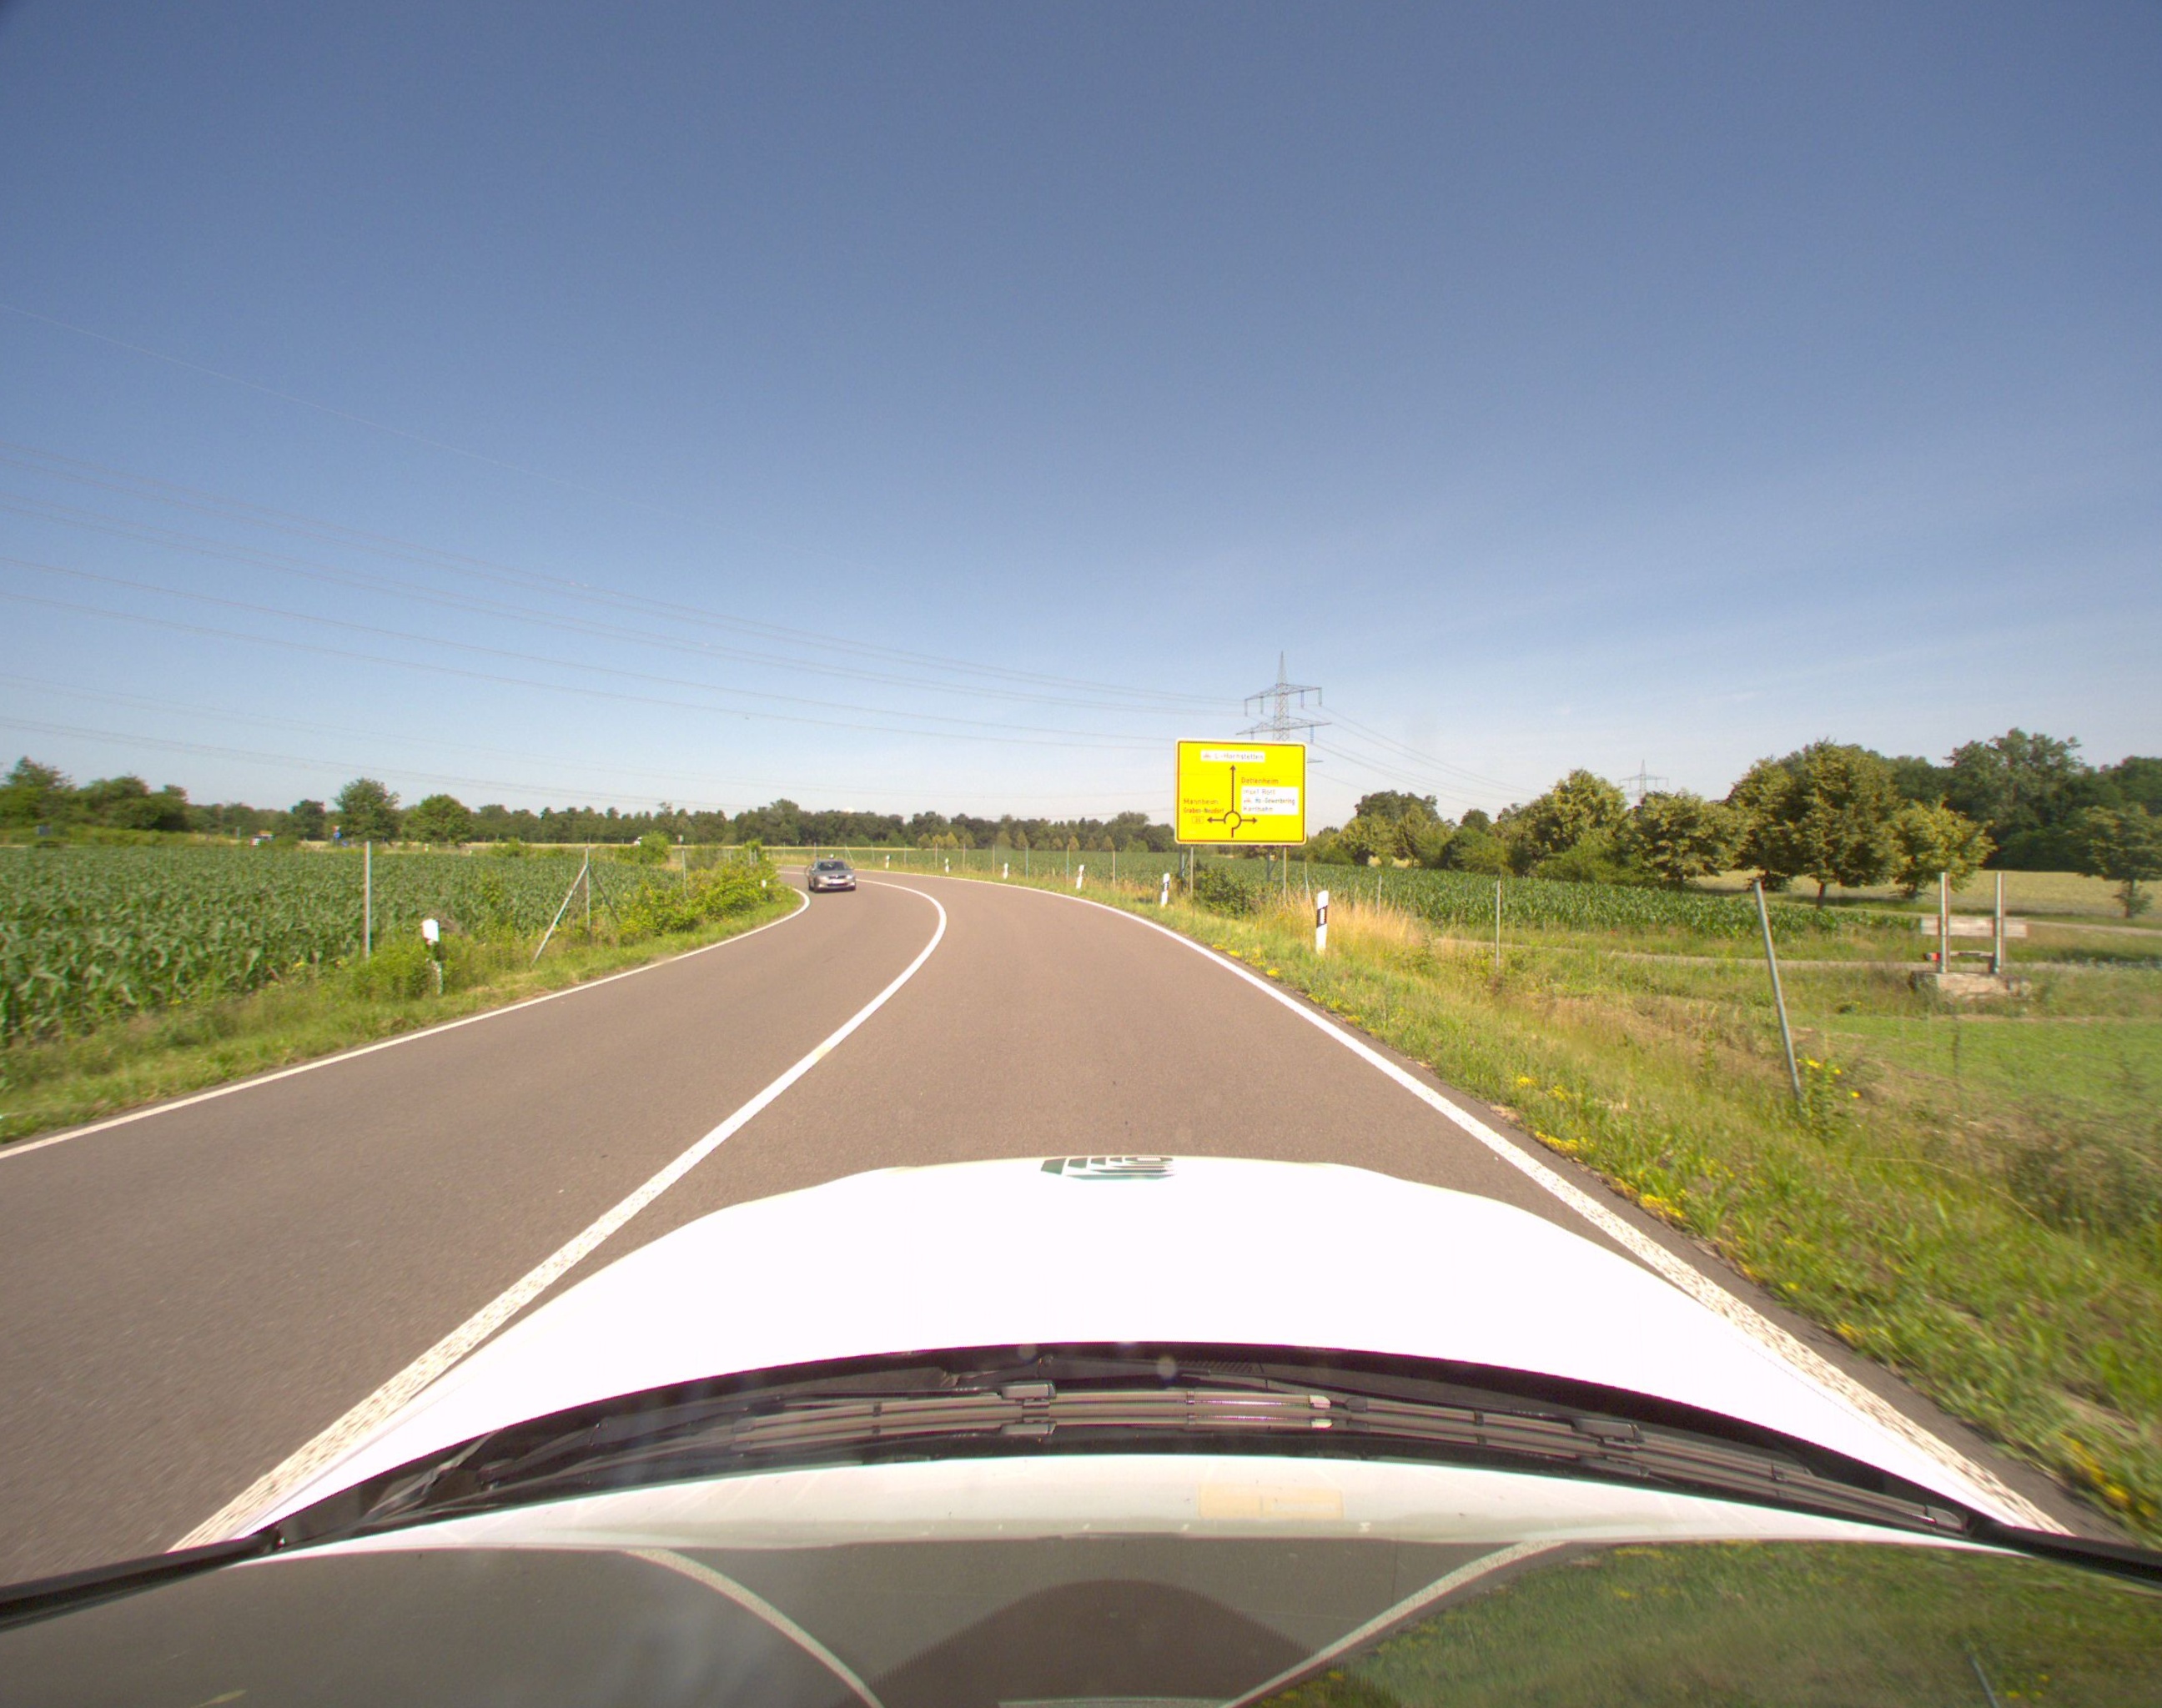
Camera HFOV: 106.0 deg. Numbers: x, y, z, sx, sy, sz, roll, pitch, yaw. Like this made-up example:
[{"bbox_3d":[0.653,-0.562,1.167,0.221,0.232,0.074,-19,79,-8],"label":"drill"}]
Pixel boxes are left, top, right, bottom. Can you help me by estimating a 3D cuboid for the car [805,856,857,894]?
[{"bbox_3d":[-11.586,0.897,37.538,1.874,1.480,5.099,-4,2,-21],"label":"car"}]
